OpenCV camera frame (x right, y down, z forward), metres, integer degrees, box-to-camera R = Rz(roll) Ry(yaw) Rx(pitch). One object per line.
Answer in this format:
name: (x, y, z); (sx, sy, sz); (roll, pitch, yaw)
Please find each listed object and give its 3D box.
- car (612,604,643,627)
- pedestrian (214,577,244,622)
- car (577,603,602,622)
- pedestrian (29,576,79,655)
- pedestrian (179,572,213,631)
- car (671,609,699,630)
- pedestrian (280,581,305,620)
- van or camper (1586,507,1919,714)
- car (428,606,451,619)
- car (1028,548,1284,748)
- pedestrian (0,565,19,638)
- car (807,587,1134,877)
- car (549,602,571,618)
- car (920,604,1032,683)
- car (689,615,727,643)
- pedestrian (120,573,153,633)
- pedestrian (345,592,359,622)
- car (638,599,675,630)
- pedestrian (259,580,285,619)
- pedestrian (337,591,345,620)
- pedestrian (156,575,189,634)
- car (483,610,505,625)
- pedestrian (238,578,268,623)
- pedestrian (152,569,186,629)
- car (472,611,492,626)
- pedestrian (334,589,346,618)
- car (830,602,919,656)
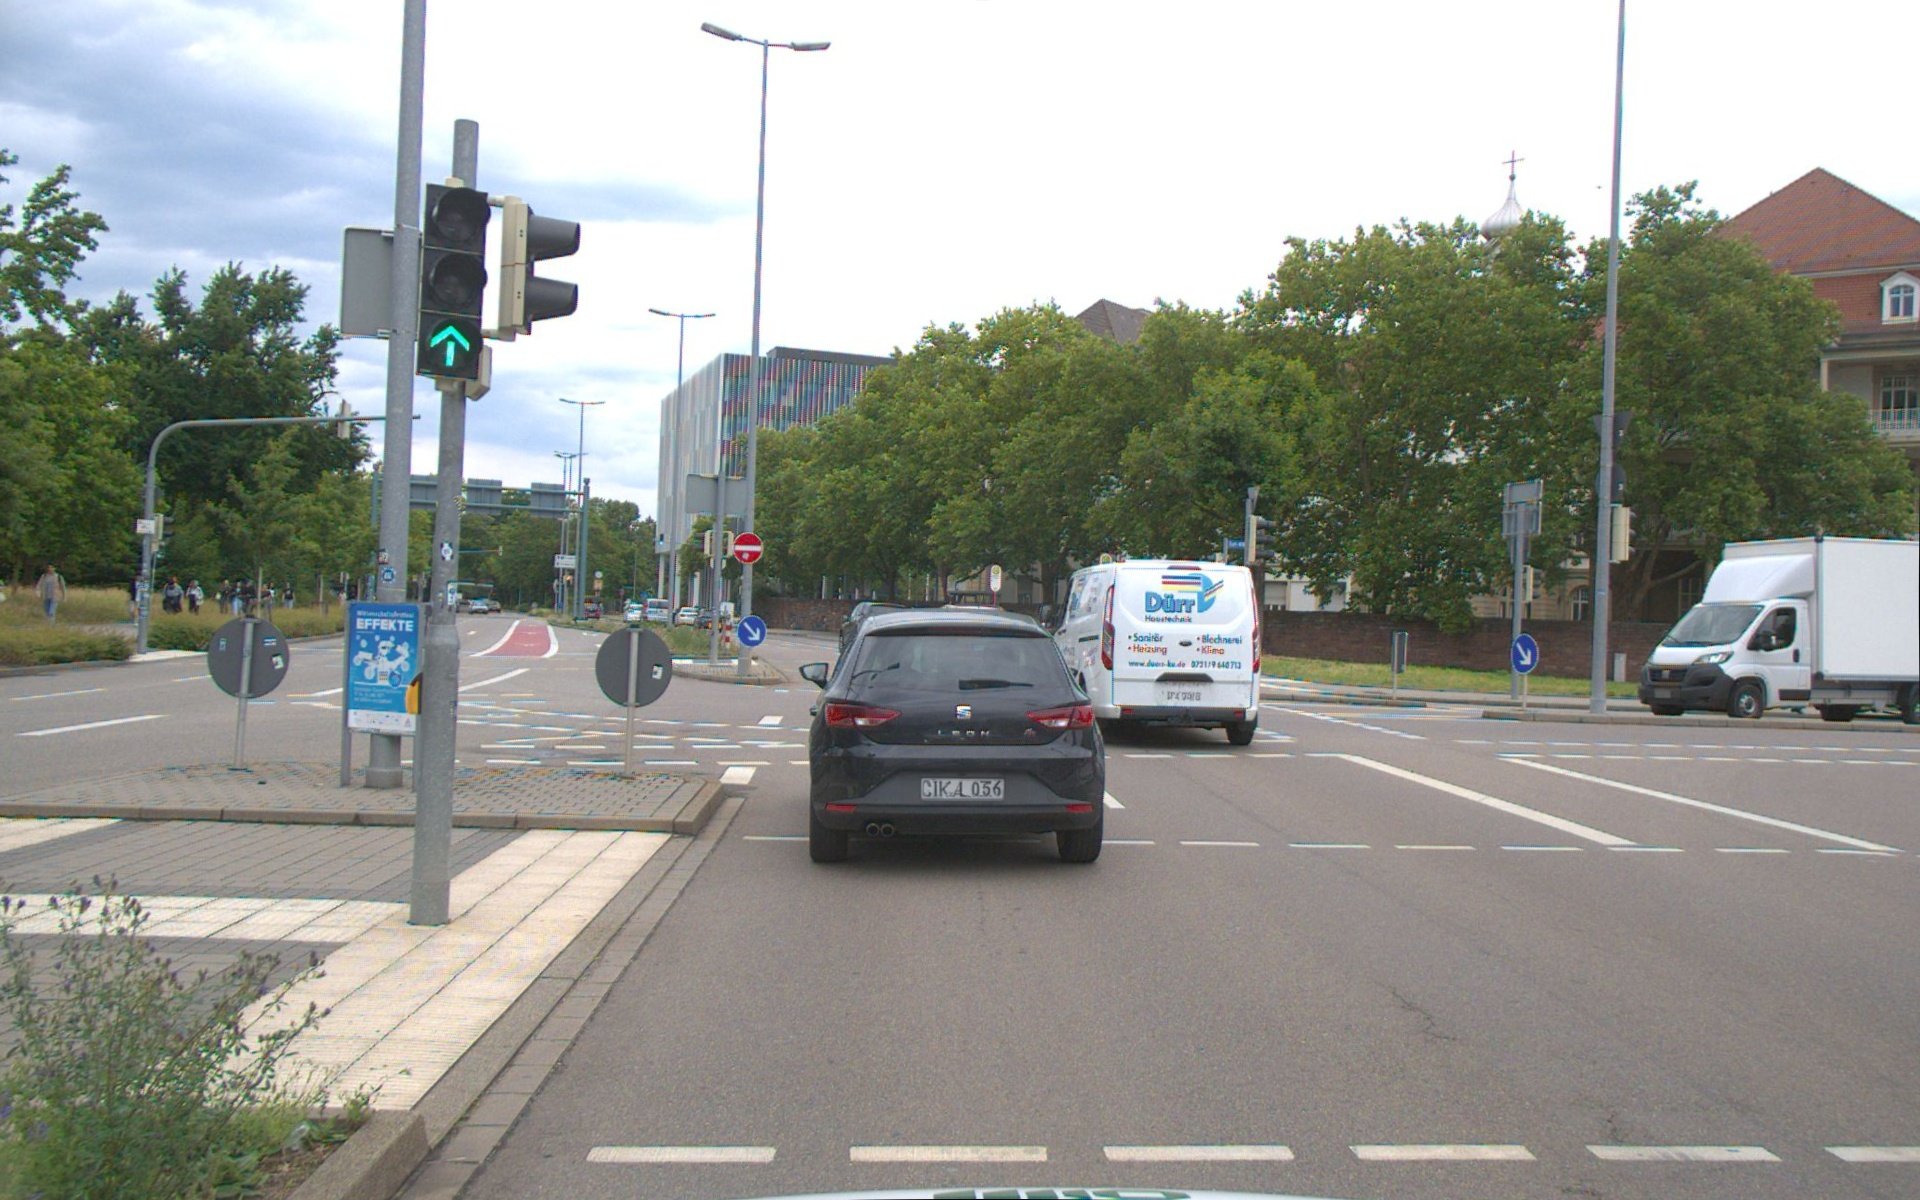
car: (-25.554, 1.172, 126.892); (1.962, 1.668, 3.982); (2, -1, -17)
pedestrian: (-29.841, -0.022, 67.532); (0.903, 1.810, 1.060); (2, -1, -14)
car: (-34.259, 1.169, 152.969); (1.962, 1.711, 3.991); (2, -1, -17)
pedestrian: (-23.926, 0.405, 43.701); (0.740, 2.049, 1.046); (2, -1, -6)
pedestrian: (-26.904, 0.050, 58.272); (0.741, 2.049, 1.045); (2, -1, -9)
car: (-19.711, 1.396, 118.505); (1.501, 1.389, 2.954); (2, -1, -18)
pedestrian: (-31.546, 0.017, 78.152); (0.903, 1.810, 1.060); (2, -1, -14)
van or camper: (15.190, 0.289, 29.942); (7.019, 3.391, 2.861); (2, -2, -18)
car: (-59.262, 1.422, 188.179); (1.857, 1.441, 3.821); (2, -1, -28)
car: (2.183, 0.520, 19.946); (1.955, 2.054, 5.025); (2, 0, -6)
pedestrian: (-23.457, 0.034, 40.047); (0.740, 1.742, 1.046); (2, -1, -6)
car: (-0.106, 0.741, 10.789); (1.712, 1.490, 3.995); (-1, -1, -5)
car: (-36.295, 0.890, 149.969); (1.684, 1.287, 3.324); (3, -1, -17)
car: (0.296, 0.932, 37.304); (1.823, 1.628, 4.196); (2, 0, -9)
car: (-16.411, 1.866, 107.711); (1.887, 1.713, 3.981); (2, 0, -17)
pedestrian: (-26.575, 0.092, 53.383); (0.700, 1.903, 0.756); (2, -1, -9)
pedestrian: (-43.046, 0.491, 117.066); (0.708, 2.049, 0.781); (2, -1, -9)
car: (-20.481, 0.968, 111.569); (1.962, 2.049, 3.982); (2, -1, -17)
pedestrian: (-32.425, -0.007, 77.919); (0.903, 1.810, 1.060); (2, -1, -14)
pedestrian: (-47.364, 0.443, 126.570); (0.462, 2.194, 0.474); (2, -1, -9)
pedestrian: (-25.532, 0.149, 53.628); (0.700, 1.903, 0.756); (2, -1, -8)
car: (-58.656, 2.220, 208.050); (1.968, 1.811, 3.968); (2, -1, -25)
pedestrian: (-28.969, 0.025, 67.765); (0.903, 1.810, 1.060); (2, -1, -14)
pedestrian: (-27.778, -0.040, 58.070); (0.741, 2.049, 1.045); (2, -1, -9)
car: (-48.858, 1.896, 169.083); (1.663, 1.441, 3.620); (2, -1, -22)
pedestrian: (-45.287, 0.255, 120.832); (0.655, 2.049, 0.594); (2, -1, -9)
car: (-2.832, 0.911, 53.772); (1.961, 1.593, 4.186); (2, 0, -16)
